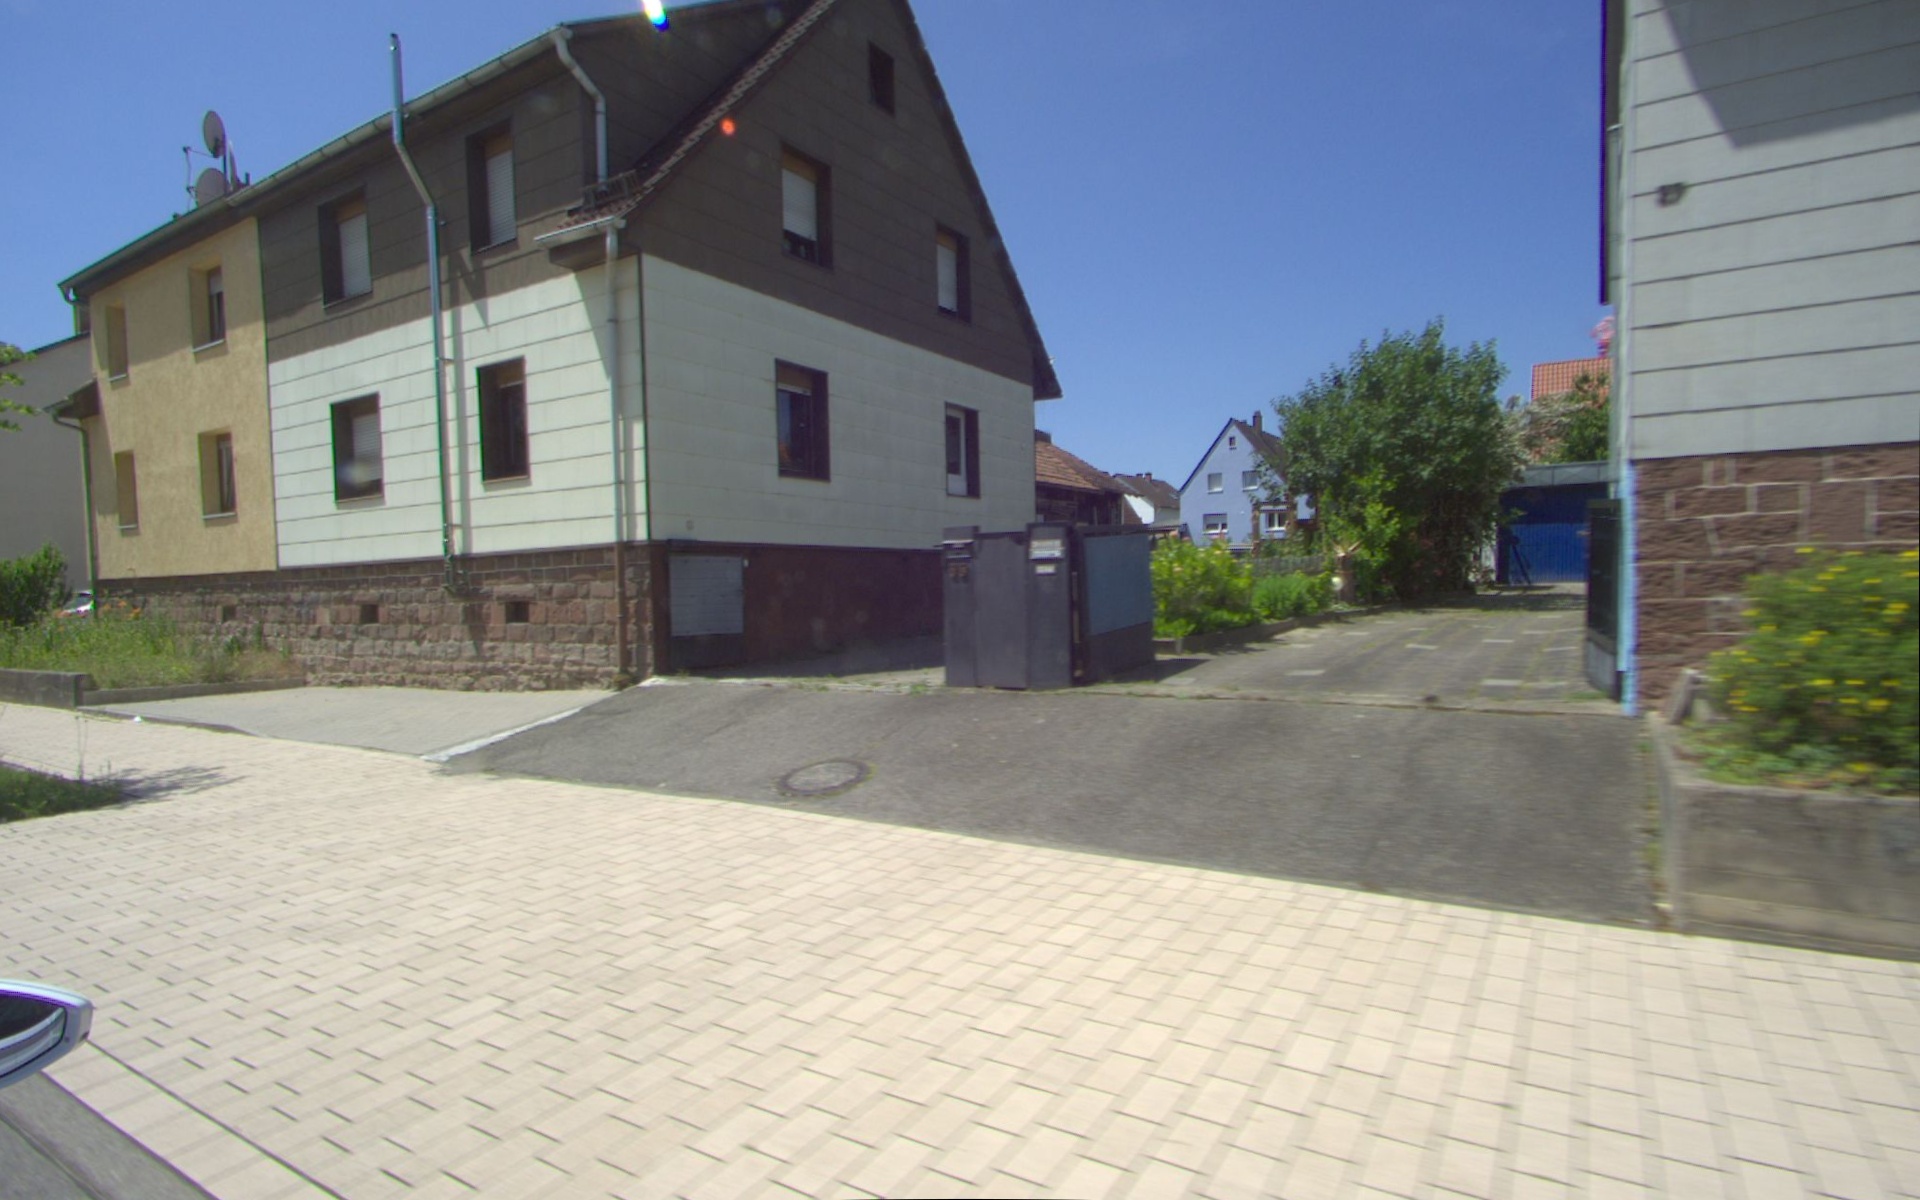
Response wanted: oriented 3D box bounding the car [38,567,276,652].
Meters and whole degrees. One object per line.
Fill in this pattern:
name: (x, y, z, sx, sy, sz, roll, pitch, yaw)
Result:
car: (-19.156, 0.166, 24.065, 1.847, 1.700, 3.977, -1, 3, 31)
